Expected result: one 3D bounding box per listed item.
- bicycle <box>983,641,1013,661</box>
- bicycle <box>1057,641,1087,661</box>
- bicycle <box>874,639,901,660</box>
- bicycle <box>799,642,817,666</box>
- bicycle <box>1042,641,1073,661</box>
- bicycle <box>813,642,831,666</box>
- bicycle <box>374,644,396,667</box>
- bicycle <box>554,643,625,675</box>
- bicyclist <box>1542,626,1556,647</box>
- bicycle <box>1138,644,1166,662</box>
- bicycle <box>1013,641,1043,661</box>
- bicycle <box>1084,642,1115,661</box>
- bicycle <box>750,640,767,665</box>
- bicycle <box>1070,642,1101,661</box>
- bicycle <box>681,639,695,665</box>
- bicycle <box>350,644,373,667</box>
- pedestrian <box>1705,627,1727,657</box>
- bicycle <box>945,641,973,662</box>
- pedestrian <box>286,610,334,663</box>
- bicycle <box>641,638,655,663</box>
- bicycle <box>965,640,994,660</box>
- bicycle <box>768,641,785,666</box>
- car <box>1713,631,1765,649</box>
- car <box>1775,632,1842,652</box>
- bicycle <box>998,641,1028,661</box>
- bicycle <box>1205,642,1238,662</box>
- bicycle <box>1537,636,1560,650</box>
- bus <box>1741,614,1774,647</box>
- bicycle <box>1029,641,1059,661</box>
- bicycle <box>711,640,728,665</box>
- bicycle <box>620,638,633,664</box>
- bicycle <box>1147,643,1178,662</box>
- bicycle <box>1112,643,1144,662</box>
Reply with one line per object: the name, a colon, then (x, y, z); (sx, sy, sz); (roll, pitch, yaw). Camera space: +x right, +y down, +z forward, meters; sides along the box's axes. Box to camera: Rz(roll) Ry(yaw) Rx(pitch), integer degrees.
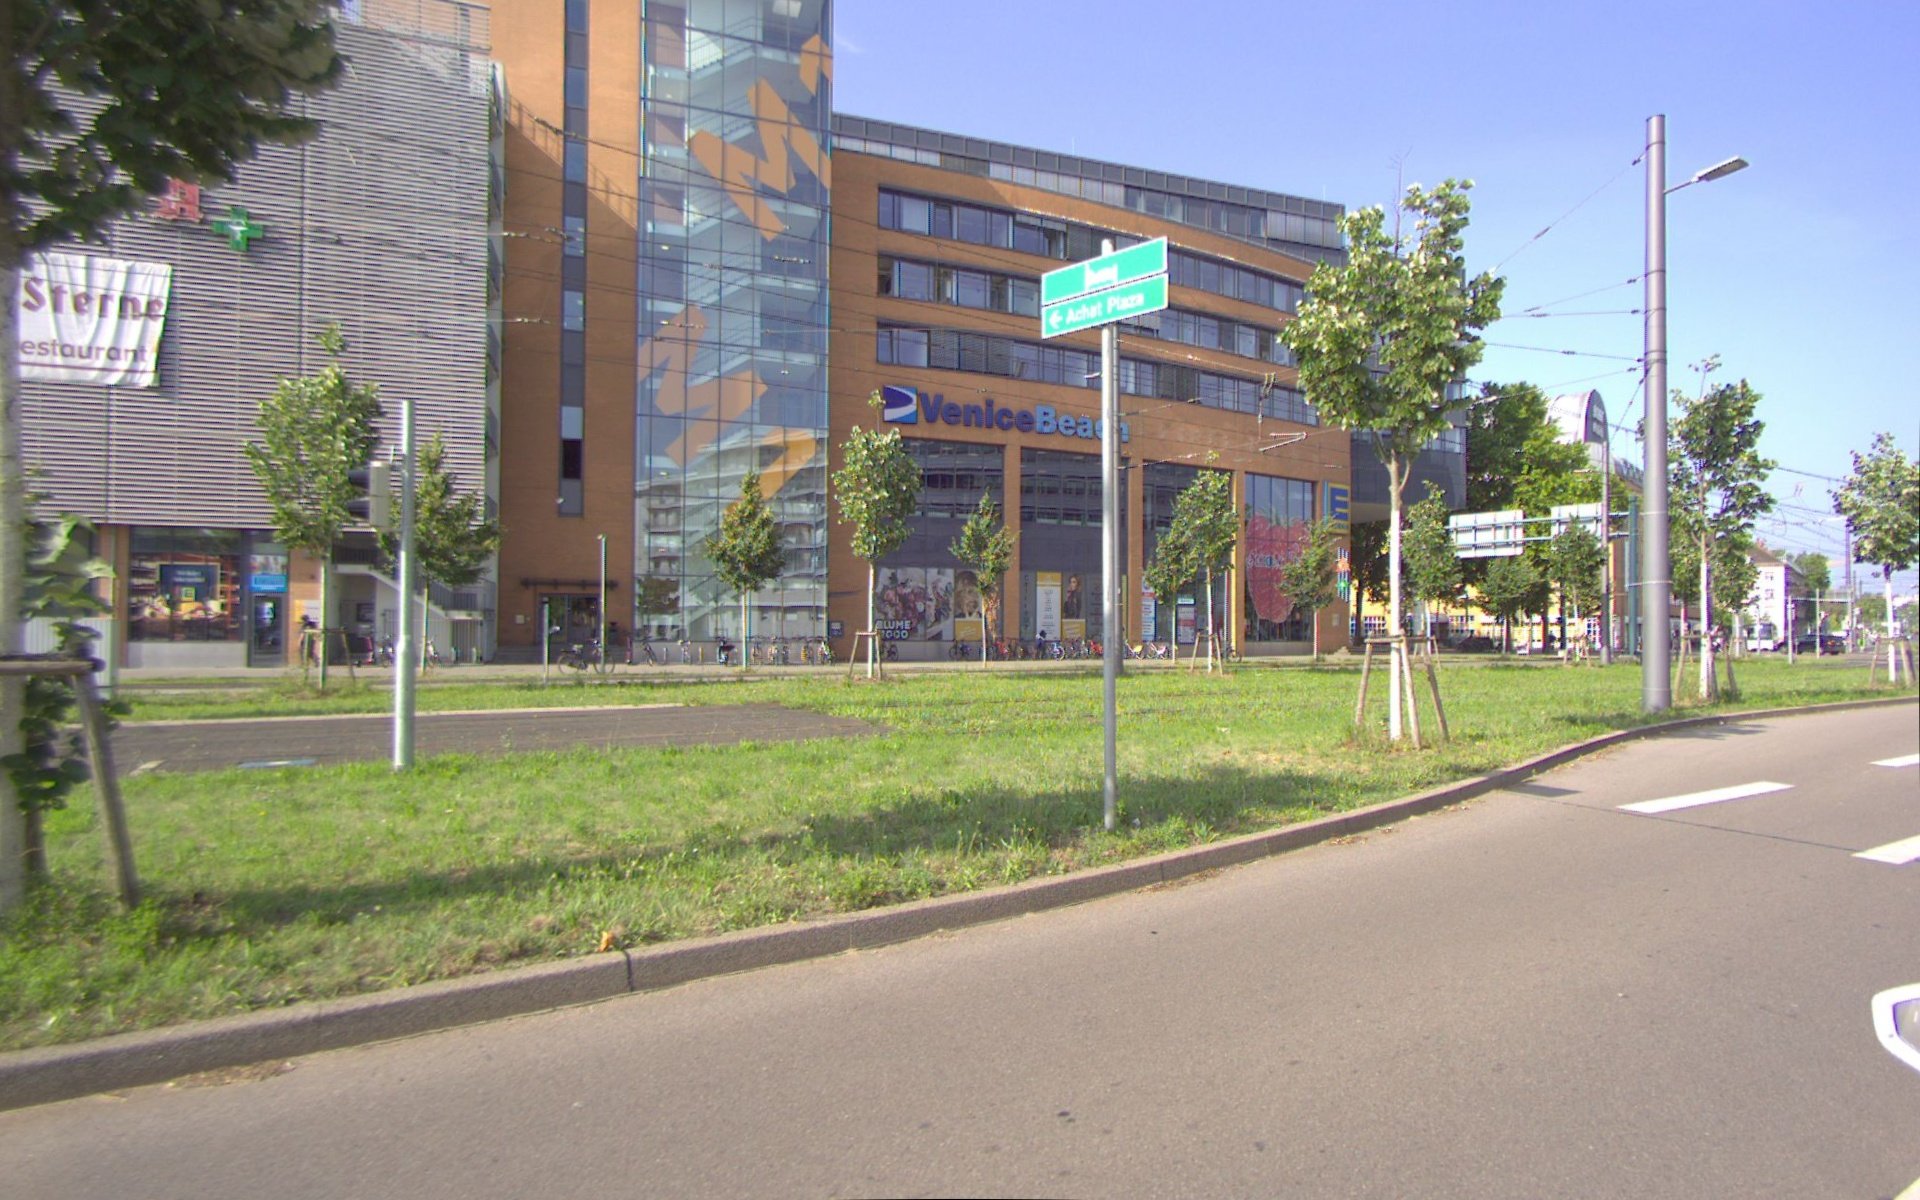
bicycle: (1.835, 2.461, 48.725); (0.565, 0.934, 2.043); (1, -2, -24)
bicycle: (5.634, 2.569, 50.734); (0.565, 0.934, 2.043); (1, -2, -24)
bicycle: (-3.359, 2.261, 46.243); (0.565, 0.934, 2.043); (1, -2, -24)
bicycle: (-6.216, 2.190, 41.017); (0.405, 0.952, 1.577); (1, -2, -20)
bicycle: (4.876, 2.558, 50.351); (0.565, 0.934, 2.043); (1, -2, -24)
bicycle: (-5.753, 2.236, 41.896); (0.405, 0.952, 1.577); (1, -2, -20)
bicycle: (-19.773, 1.892, 34.559); (0.445, 0.762, 1.002); (1, -1, -18)
bicycle: (-12.240, 1.945, 33.239); (2.125, 1.001, 0.444); (2, -2, -11)
bicyclist: (51.746, 3.208, 88.204); (0.654, 1.769, 0.967); (2, -2, -3)
bicycle: (10.119, 2.792, 53.018); (0.375, 0.934, 2.043); (1, -2, -24)
bicycle: (3.329, 2.505, 49.517); (0.565, 0.934, 2.043); (1, -2, -24)
bicycle: (7.172, 2.651, 51.612); (0.565, 0.934, 2.043); (1, -2, -24)
bicycle: (-8.095, 2.116, 40.361); (0.405, 0.952, 1.577); (1, -2, -20)
bicycle: (6.394, 2.615, 51.179); (0.565, 0.934, 2.043); (1, -2, -24)
bicycle: (-10.640, 2.020, 39.279); (0.405, 0.952, 1.577); (1, -2, -20)
bicycle: (-20.423, 1.877, 34.261); (0.445, 0.762, 1.002); (1, -1, -18)
pedestrian: (52.355, 2.926, 69.539); (1.143, 2.040, 0.772); (-1, -3, 44)
bicycle: (-0.062, 2.429, 47.743); (0.565, 0.934, 2.043); (1, -2, -24)
pedestrian: (-21.823, 1.212, 33.726); (1.158, 1.742, 0.816); (1, -1, -20)
bicycle: (-12.061, 1.943, 38.808); (0.405, 0.952, 1.577); (1, -2, -20)
bicycle: (0.919, 2.403, 48.311); (0.565, 0.934, 2.043); (1, -2, -24)
bicycle: (-7.492, 2.174, 40.944); (0.405, 0.952, 1.577); (1, -2, -20)
car: (74.713, 3.824, 96.358); (1.846, 1.645, 3.594); (1, -2, -30)
car: (73.383, 3.625, 86.952); (1.971, 1.700, 3.980); (3, -3, -21)
bicycle: (2.584, 2.472, 49.152); (0.565, 0.934, 2.043); (1, -2, -24)
bicycle: (12.623, 2.515, 48.515); (0.700, 0.919, 1.671); (2, -2, -23)
bicycle: (51.701, 3.764, 88.242); (0.539, 1.222, 2.287); (2, -2, -3)
bus: (99.562, 3.812, 125.312); (2.715, 3.973, 12.156); (-1, -2, 41)
bicycle: (4.145, 2.540, 49.911); (0.565, 0.934, 2.043); (1, -2, -24)
bicycle: (-9.486, 2.057, 39.603); (0.465, 0.952, 1.577); (1, -2, -20)
bicycle: (-12.781, 1.927, 38.473); (0.405, 0.952, 1.577); (1, -2, -20)
bicycle: (10.756, 2.796, 53.368); (0.565, 0.934, 2.043); (1, -2, -24)
bicycle: (8.723, 2.707, 52.184); (0.565, 0.934, 2.043); (1, -2, -24)
